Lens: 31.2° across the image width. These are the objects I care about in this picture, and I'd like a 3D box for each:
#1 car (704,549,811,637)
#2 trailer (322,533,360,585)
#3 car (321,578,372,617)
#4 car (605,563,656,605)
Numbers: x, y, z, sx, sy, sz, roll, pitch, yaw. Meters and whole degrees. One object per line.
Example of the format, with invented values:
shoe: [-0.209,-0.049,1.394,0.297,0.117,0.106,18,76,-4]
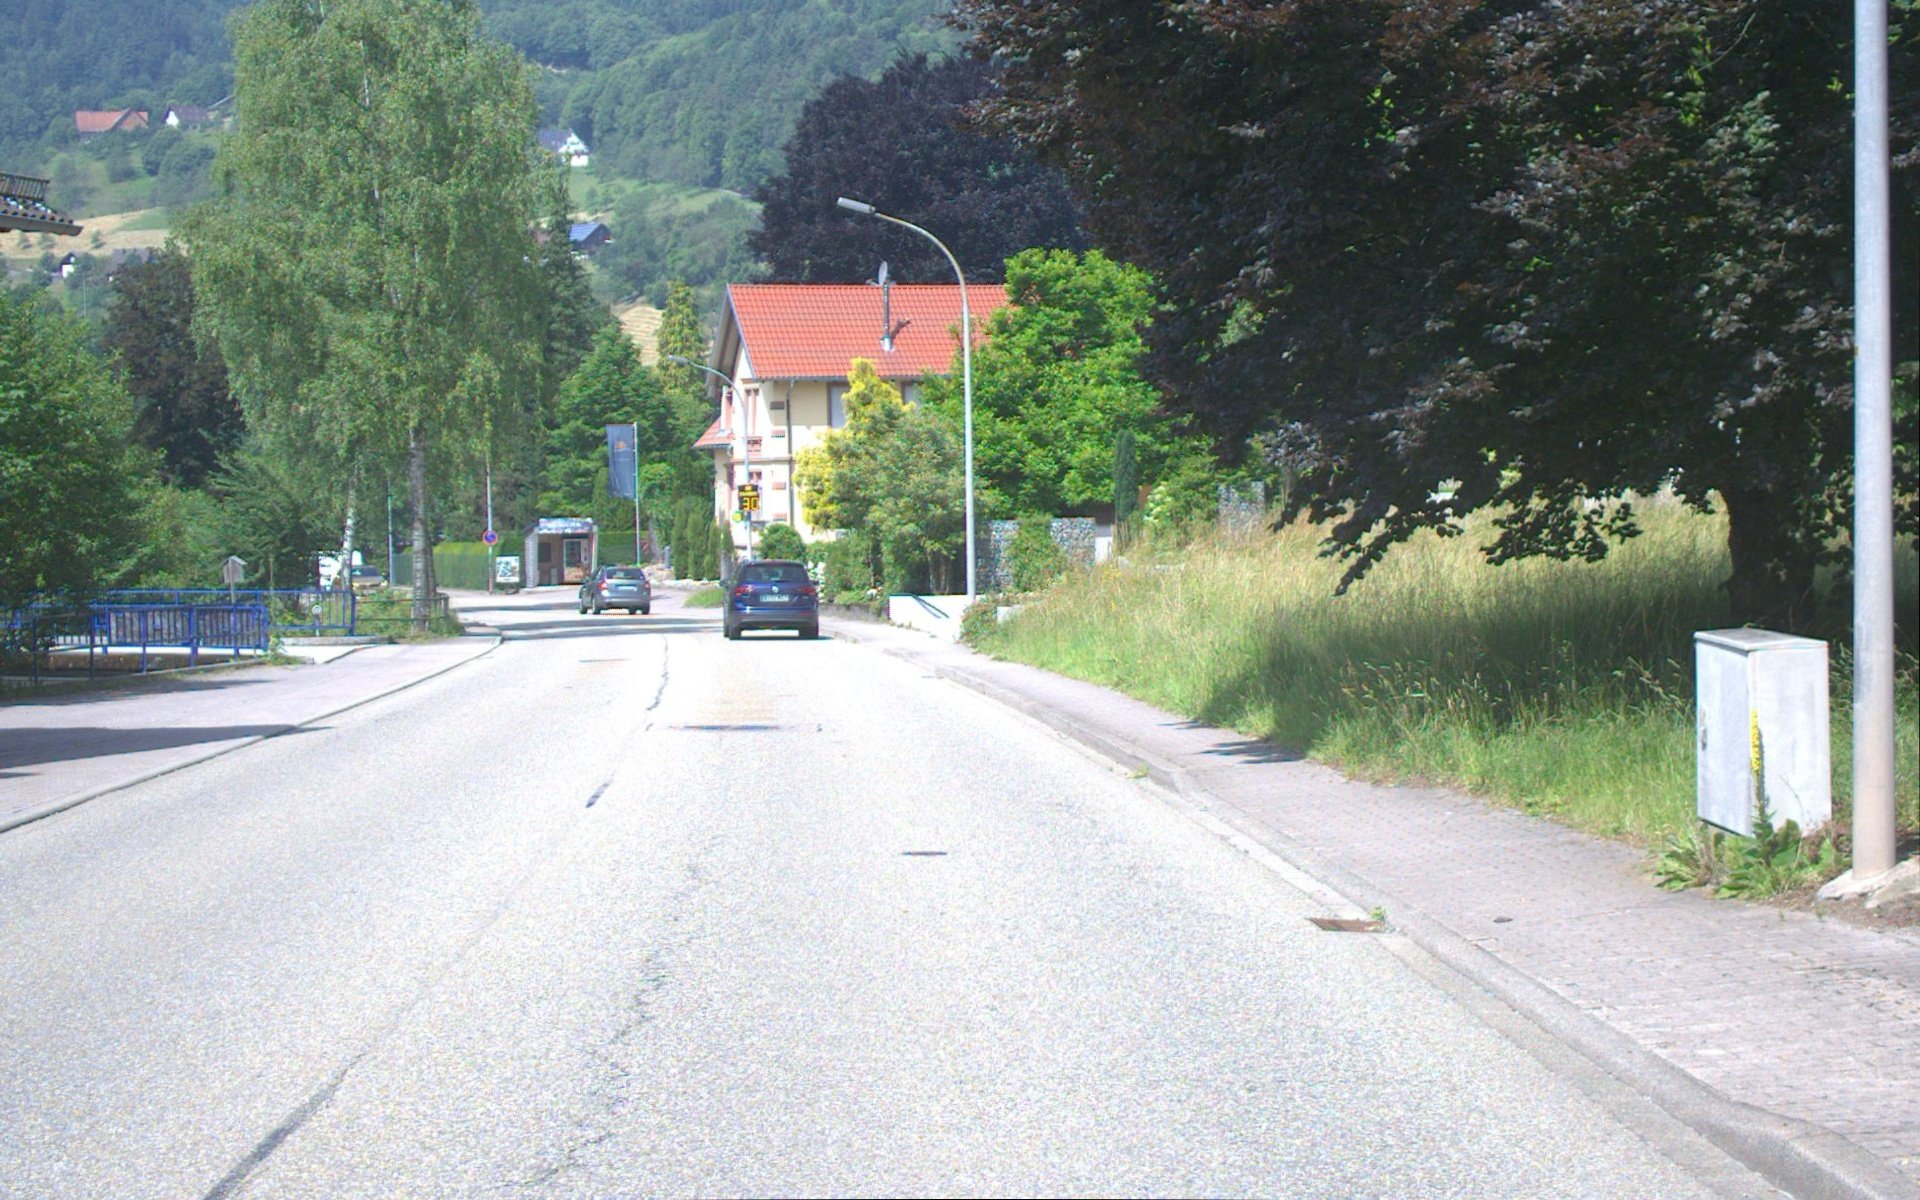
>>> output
car: [-4.171,-0.171,70.291,1.919,1.692,3.789,-2,1,-7]
trailer: [-25.592,-1.698,142.045,1.466,2.070,3.671,-2,1,-11]
car: [-24.596,-0.115,137.751,1.813,1.495,4.150,-2,1,-13]
car: [-10.068,-0.501,105.019,1.476,1.205,2.384,-2,1,-5]
